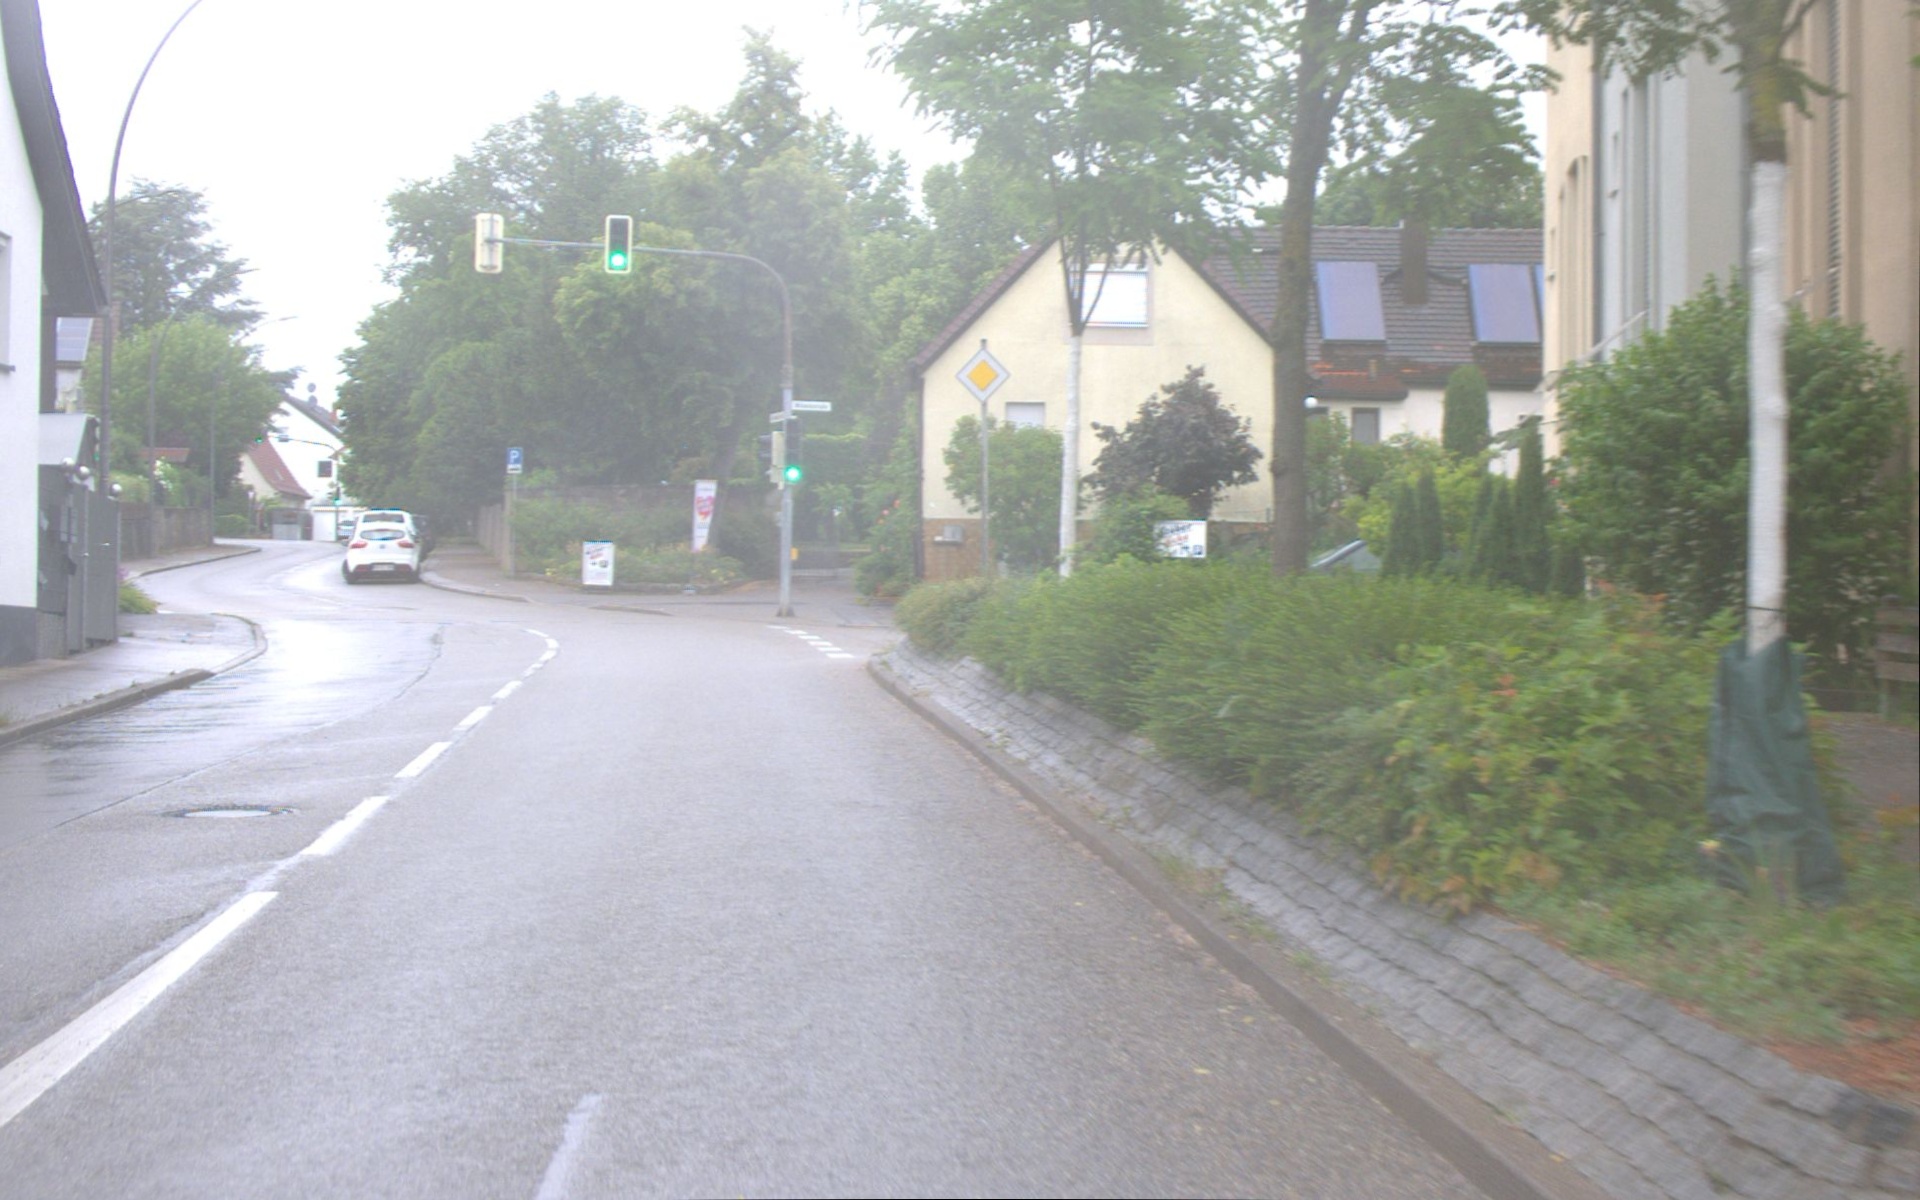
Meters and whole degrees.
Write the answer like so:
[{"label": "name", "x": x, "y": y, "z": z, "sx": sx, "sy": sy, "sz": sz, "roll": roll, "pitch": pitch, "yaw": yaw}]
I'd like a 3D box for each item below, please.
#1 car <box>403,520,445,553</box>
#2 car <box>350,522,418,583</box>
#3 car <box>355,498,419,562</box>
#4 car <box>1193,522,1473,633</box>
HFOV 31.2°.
[{"label": "car", "x": -22.531, "y": -2.663, "z": 144.461, "sx": 1.651, "sy": 1.367, "sz": 4.183, "roll": 0, "pitch": 1, "yaw": -10}, {"label": "car", "x": -14.425, "y": -1.206, "z": 85.924, "sx": 1.611, "sy": 1.475, "sz": 4.039, "roll": 1, "pitch": 1, "yaw": -10}, {"label": "car", "x": -16.100, "y": -1.974, "z": 96.745, "sx": 1.637, "sy": 1.735, "sz": 4.137, "roll": 1, "pitch": 1, "yaw": -8}, {"label": "car", "x": 5.680, "y": -0.334, "z": 52.272, "sx": 4.133, "sy": 1.580, "sz": 1.864, "roll": 1, "pitch": 0, "yaw": 7}]
